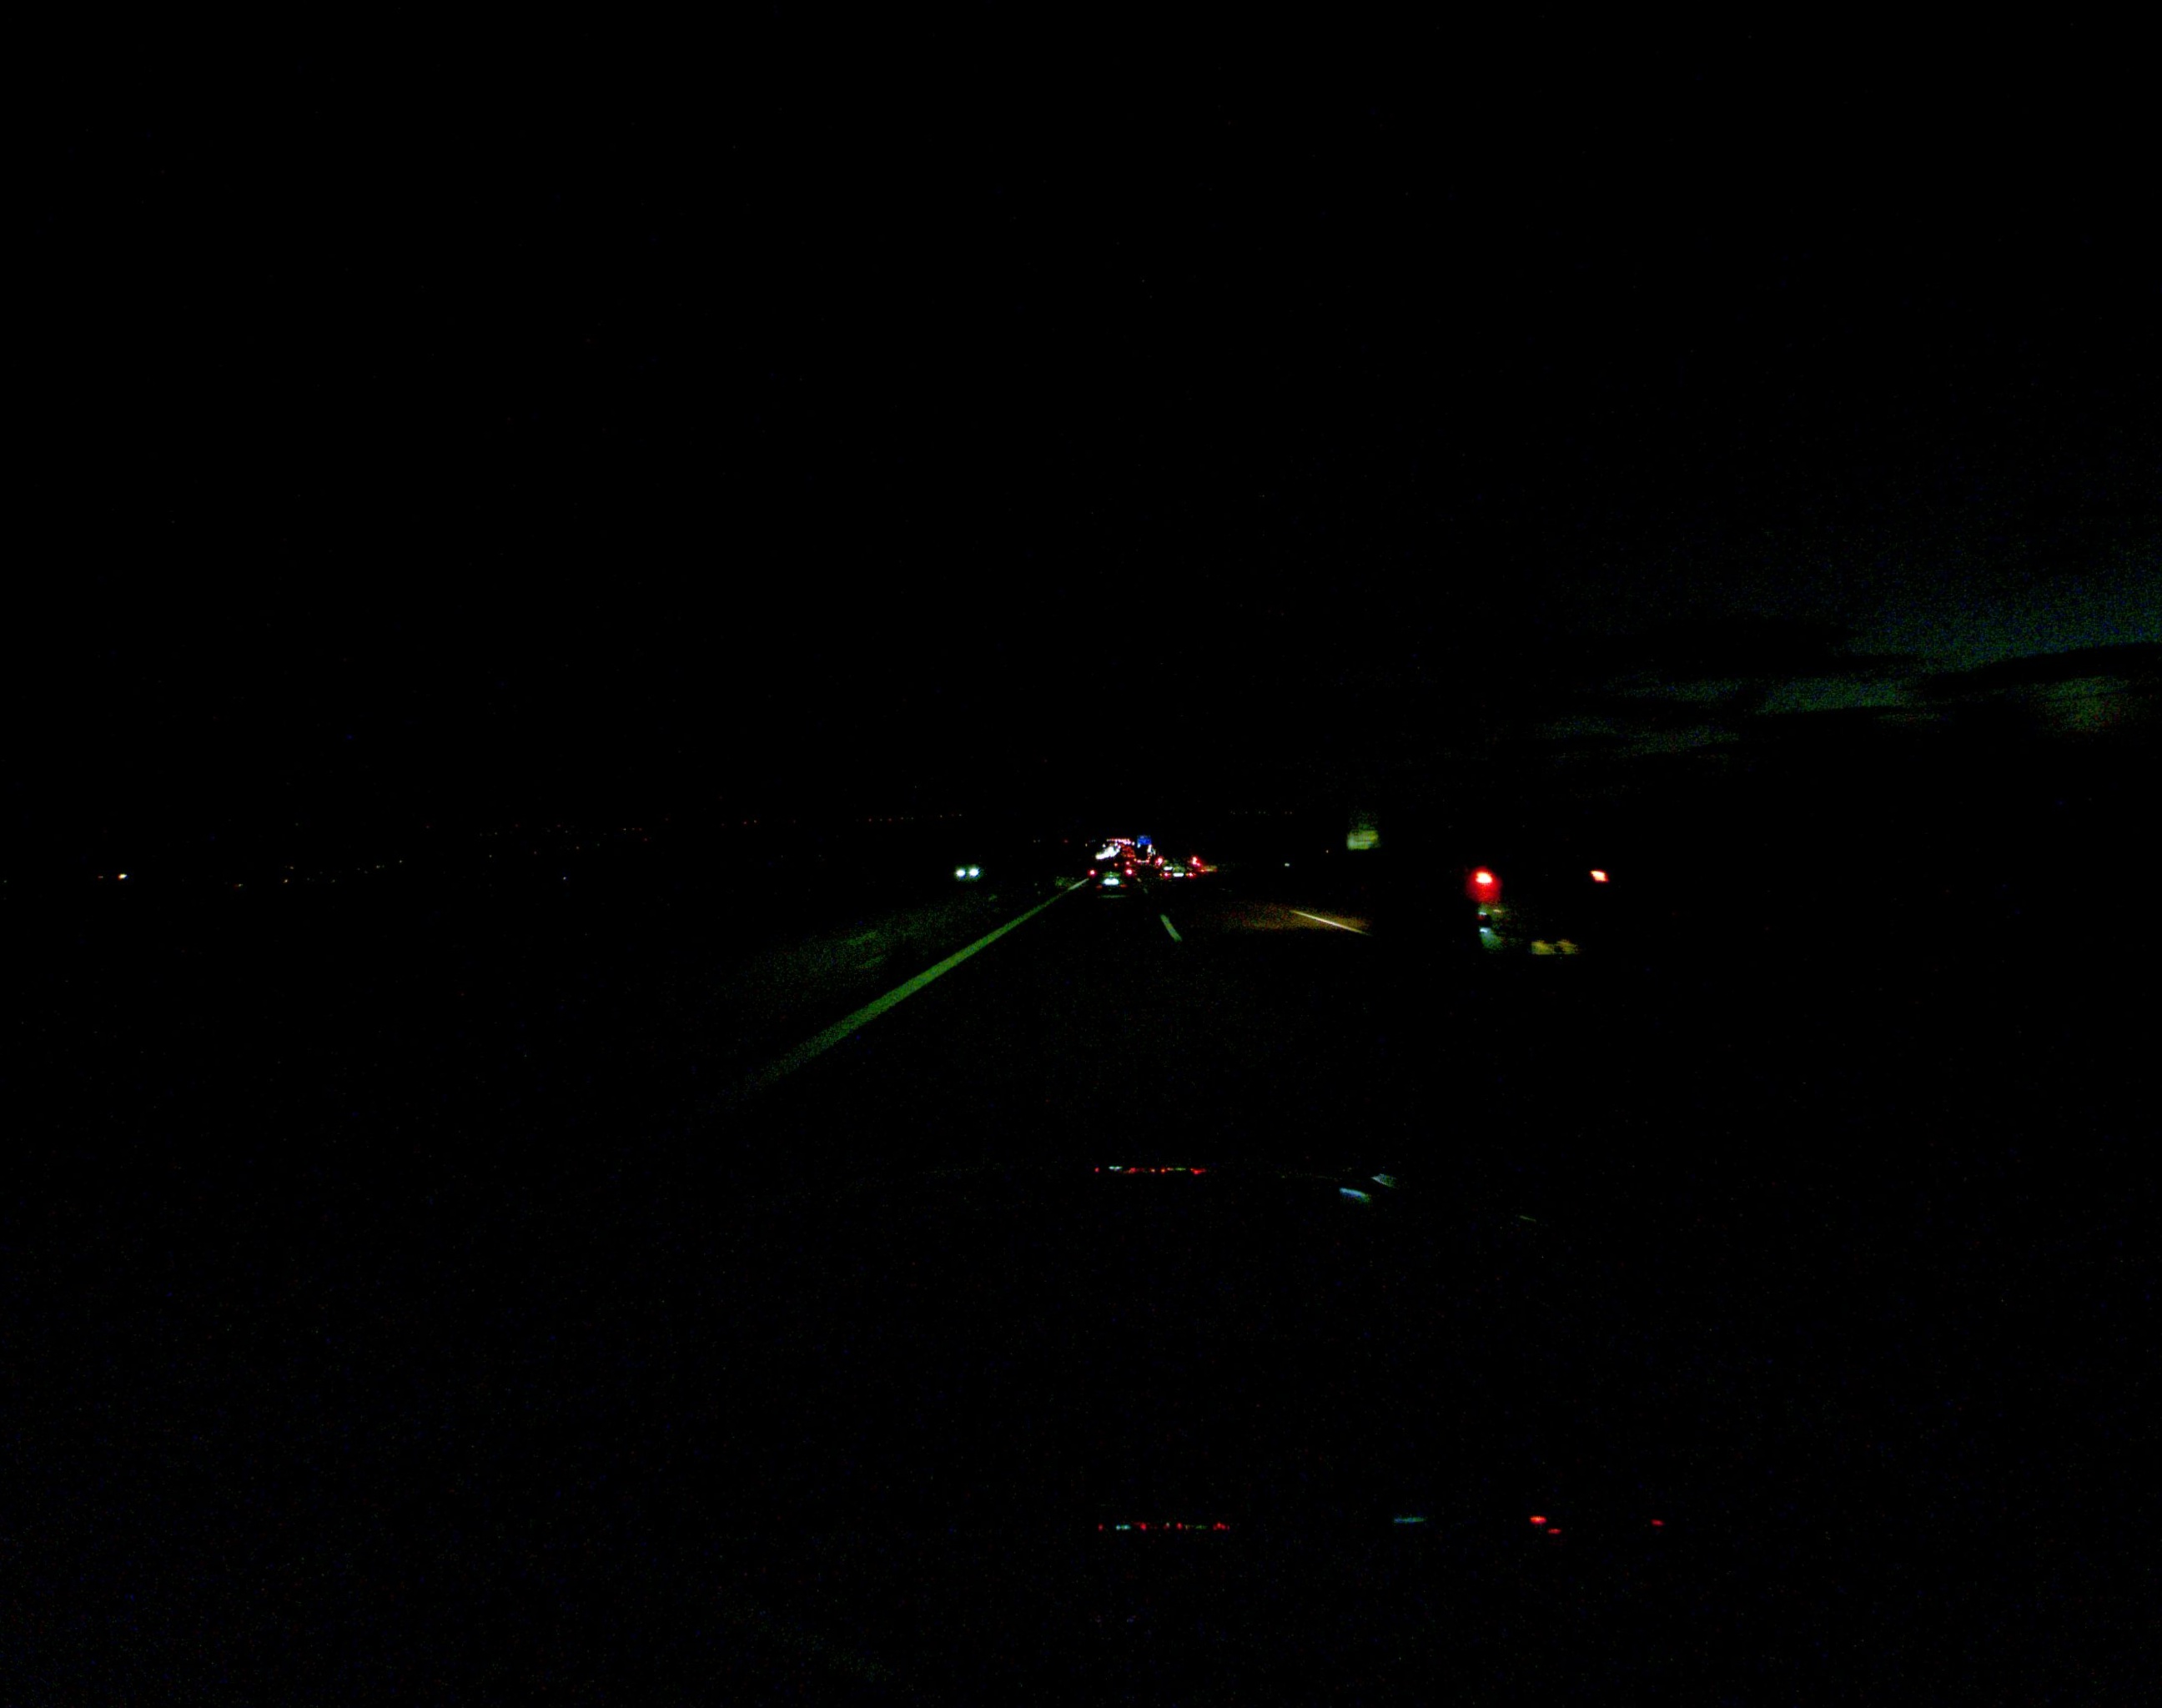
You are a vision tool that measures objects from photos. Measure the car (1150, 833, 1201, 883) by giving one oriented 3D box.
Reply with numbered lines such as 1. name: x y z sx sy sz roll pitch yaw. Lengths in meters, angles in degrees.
1. car: 5.116 0.191 44.907 2.341 2.535 5.706 -2 0 3

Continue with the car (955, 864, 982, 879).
1. car: -12.064 1.849 87.709 1.986 1.419 4.984 -4 0 1

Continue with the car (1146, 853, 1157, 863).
1. car: 16.924 0.975 195.724 2.341 2.076 4.727 -2 0 3

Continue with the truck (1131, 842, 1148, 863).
1. truck: 11.298 -0.236 158.149 2.770 3.955 7.996 -2 0 2

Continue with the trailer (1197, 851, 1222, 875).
1. trailer: 9.590 0.660 60.908 1.559 1.693 2.824 -2 0 4

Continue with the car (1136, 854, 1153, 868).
1. car: 9.432 1.010 121.710 2.341 1.914 4.727 -2 0 3

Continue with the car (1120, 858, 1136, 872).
1. car: 5.372 1.297 93.748 1.737 1.440 4.371 -2 0 3

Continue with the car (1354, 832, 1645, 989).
1. car: 5.088 0.593 10.691 1.639 1.596 4.512 -1 0 2

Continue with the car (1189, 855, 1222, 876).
1. car: 9.836 0.873 64.577 2.154 1.563 4.727 -2 0 3

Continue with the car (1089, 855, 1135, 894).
1. car: 1.313 0.798 33.473 1.786 1.469 3.776 -1 0 3
